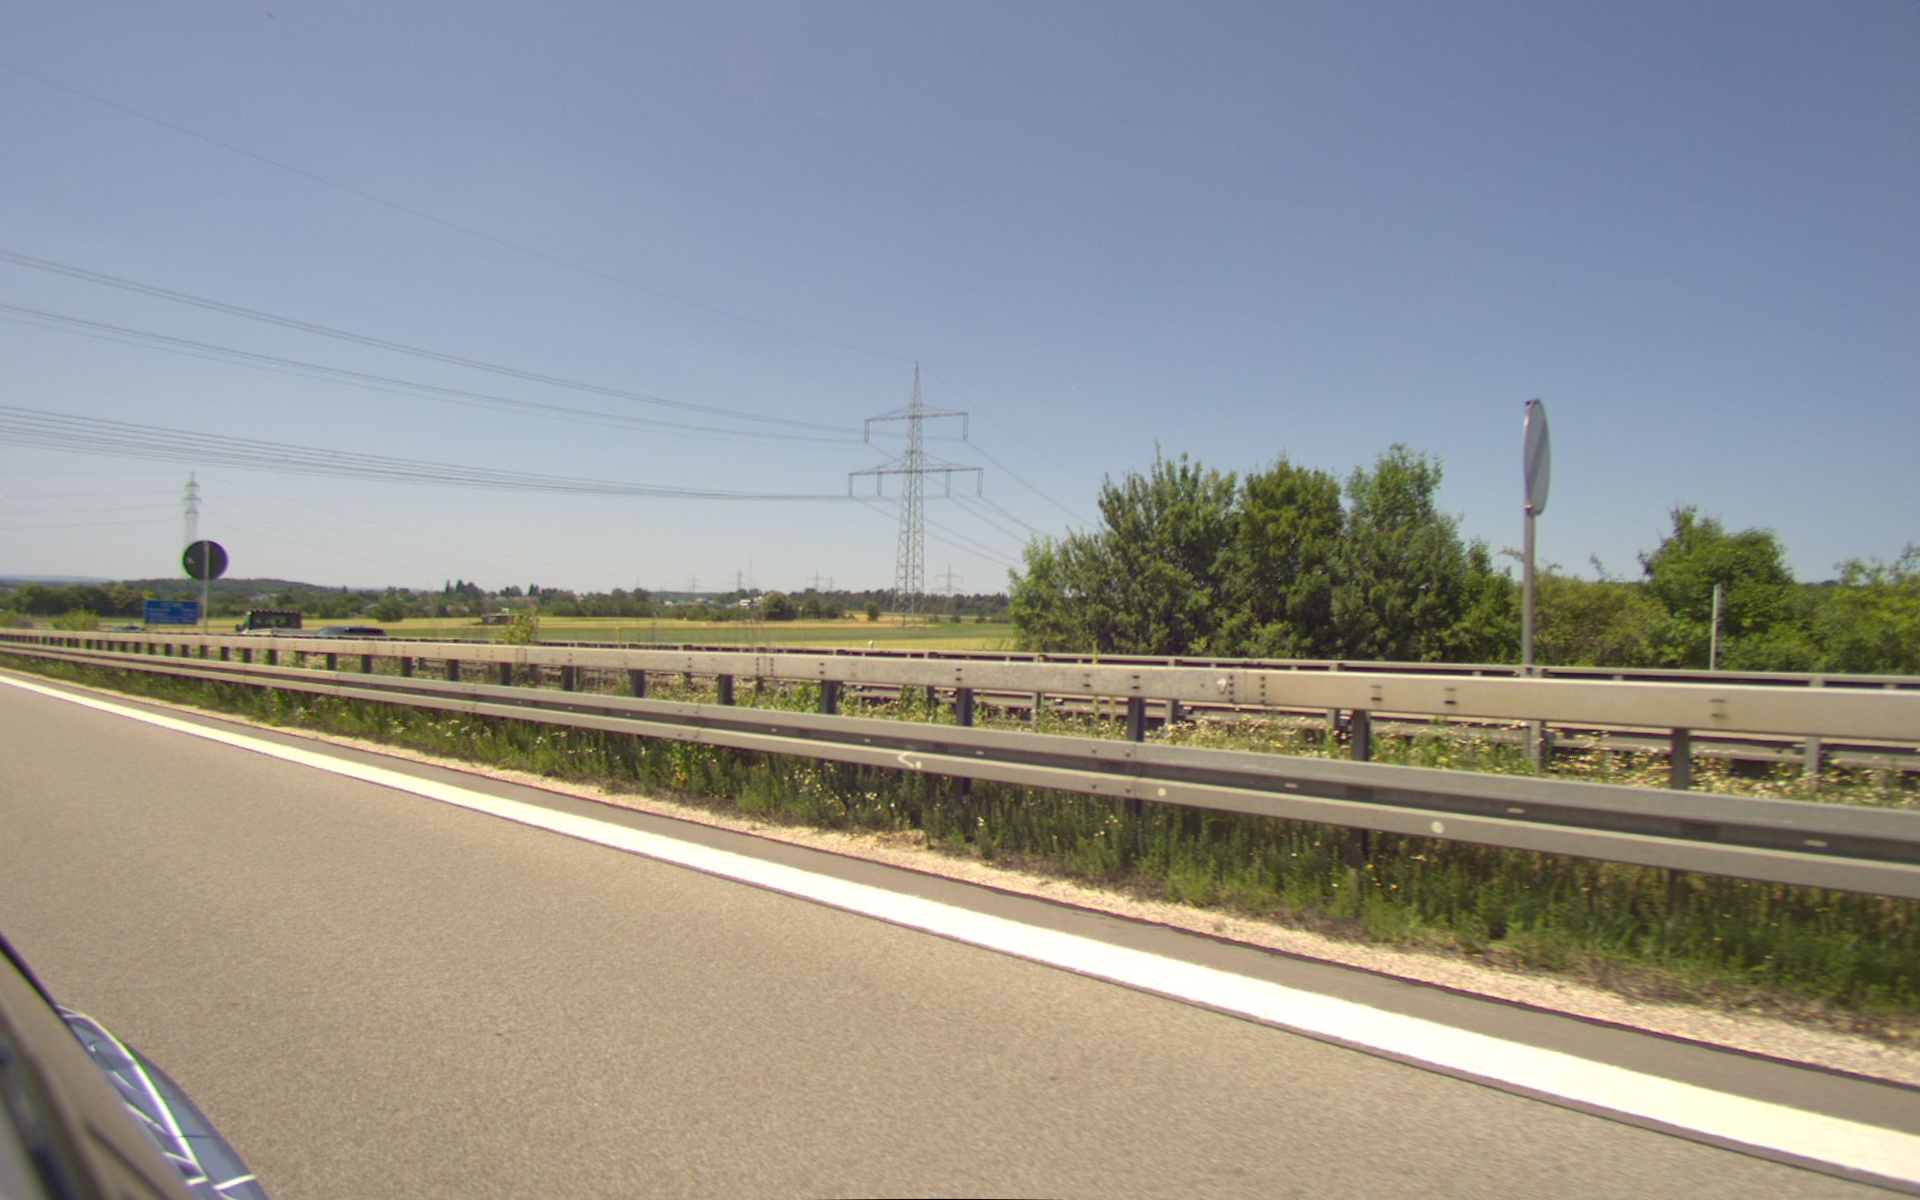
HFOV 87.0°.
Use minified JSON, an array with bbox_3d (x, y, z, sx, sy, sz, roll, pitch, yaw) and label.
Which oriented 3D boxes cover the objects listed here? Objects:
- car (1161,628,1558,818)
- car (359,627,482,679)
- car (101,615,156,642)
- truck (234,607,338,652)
[{"bbox_3d":[4.012,1.104,10.439,3.483,1.541,1.619,0,0,41],"label":"car"},{"bbox_3d":[-13.578,1.283,25.399,3.483,1.133,1.619,0,0,41],"label":"car"},{"bbox_3d":[-51.683,1.742,62.888,4.283,1.555,1.928,0,0,40],"label":"car"},{"bbox_3d":[-30.200,1.273,45.253,5.722,1.851,2.404,0,0,40],"label":"truck"}]
